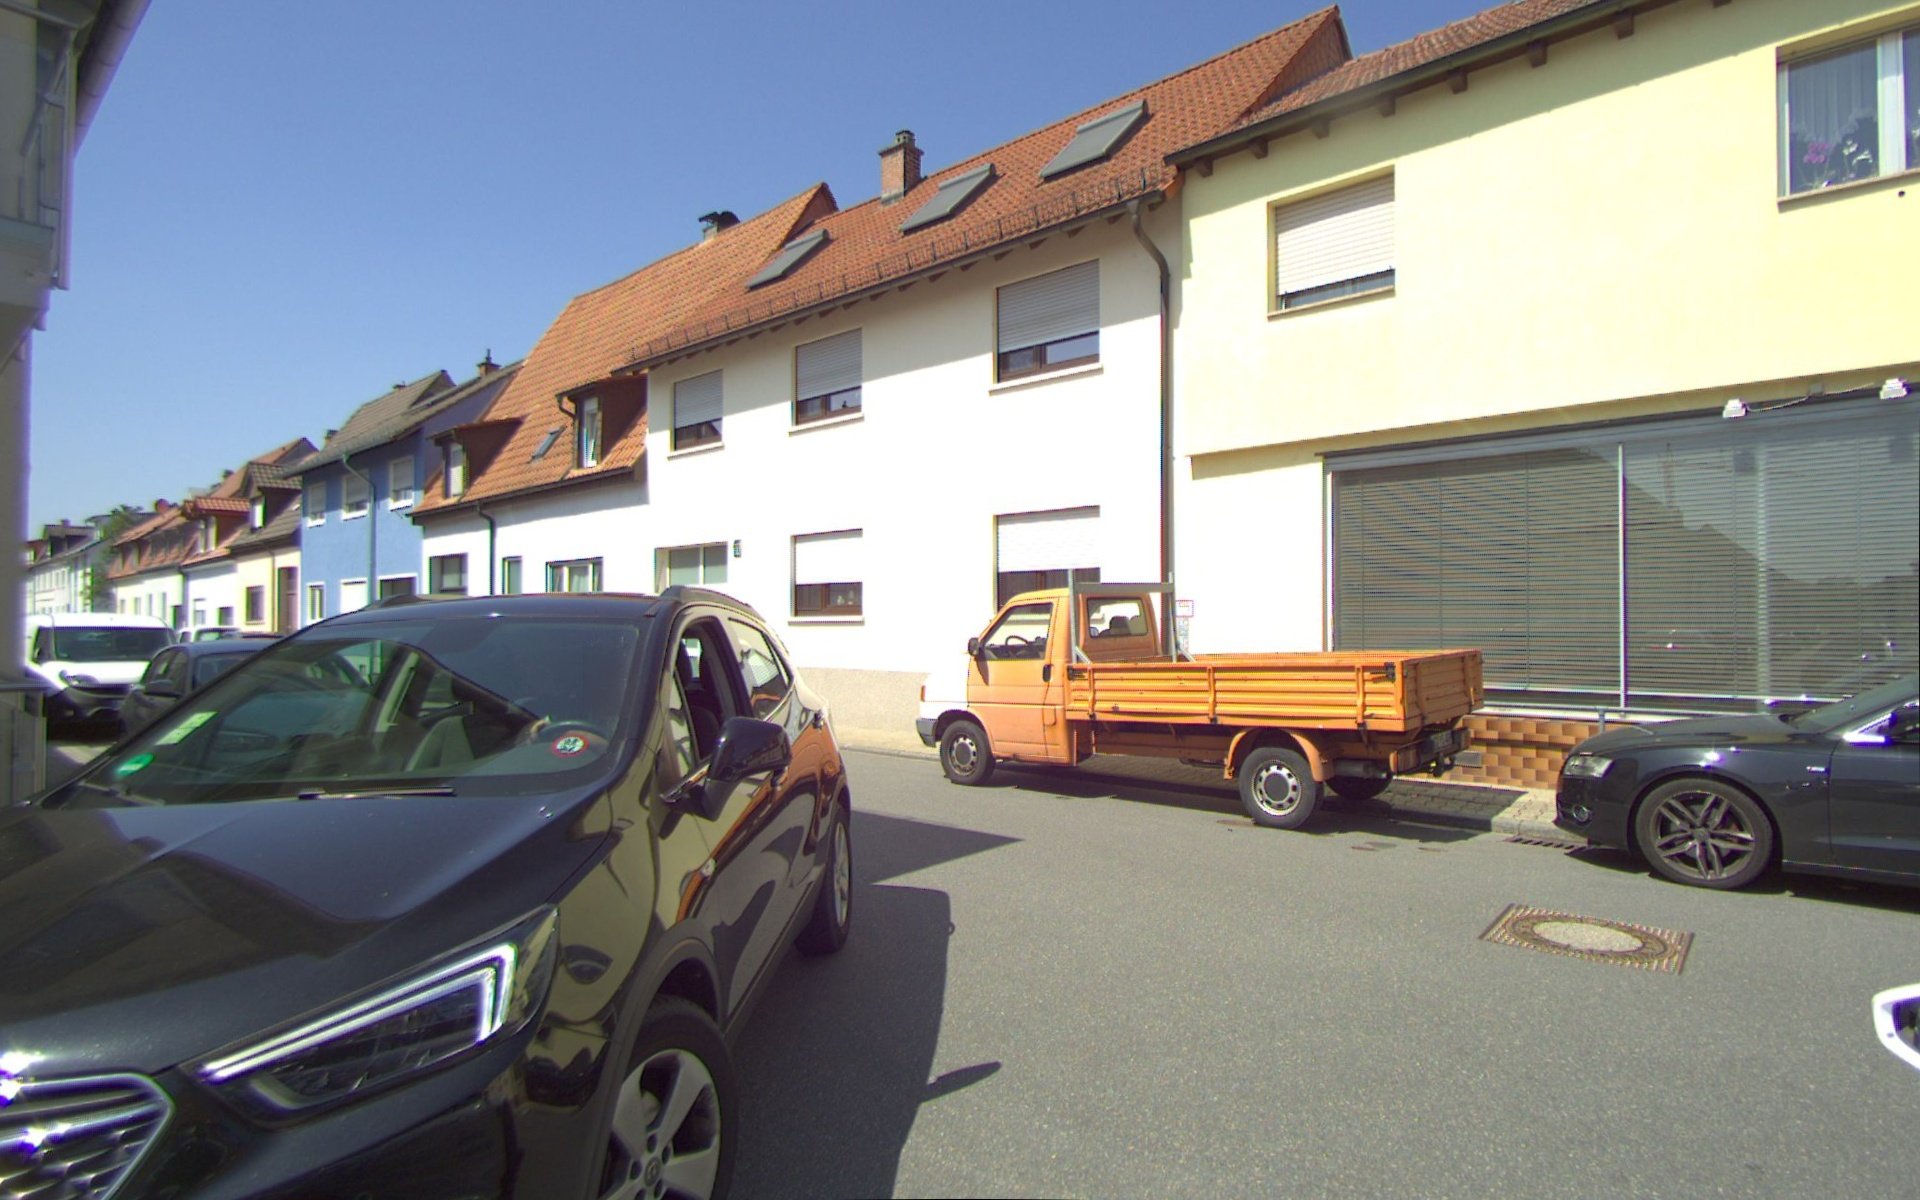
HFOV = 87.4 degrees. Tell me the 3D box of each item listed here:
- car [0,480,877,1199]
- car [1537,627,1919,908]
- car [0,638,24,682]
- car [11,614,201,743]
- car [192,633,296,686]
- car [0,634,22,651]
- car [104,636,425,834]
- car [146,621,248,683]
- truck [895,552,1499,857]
[{"bbox_3d":[-1.404,0.763,3.276,1.727,1.604,4.283,-1,-2,2],"label":"car"},{"bbox_3d":[5.931,0.917,5.487,4.563,1.412,1.919,-1,-5,41],"label":"car"},{"bbox_3d":[-32.900,1.998,33.904,3.807,1.444,1.515,-2,-3,41],"label":"car"},{"bbox_3d":[-13.270,1.135,15.553,3.731,1.752,1.677,-2,-3,41],"label":"car"},{"bbox_3d":[-21.834,1.768,30.578,4.154,1.521,1.716,-2,-3,42],"label":"car"},{"bbox_3d":[-69.162,3.055,72.939,2.921,1.200,1.289,-2,-3,42],"label":"car"},{"bbox_3d":[-6.641,1.076,9.434,3.871,1.386,1.630,-1,0,42],"label":"car"},{"bbox_3d":[-27.561,1.812,36.237,3.938,2.040,1.992,0,-1,38],"label":"car"},{"bbox_3d":[1.919,0.760,9.238,5.008,2.040,2.178,-1,-2,43],"label":"truck"}]
